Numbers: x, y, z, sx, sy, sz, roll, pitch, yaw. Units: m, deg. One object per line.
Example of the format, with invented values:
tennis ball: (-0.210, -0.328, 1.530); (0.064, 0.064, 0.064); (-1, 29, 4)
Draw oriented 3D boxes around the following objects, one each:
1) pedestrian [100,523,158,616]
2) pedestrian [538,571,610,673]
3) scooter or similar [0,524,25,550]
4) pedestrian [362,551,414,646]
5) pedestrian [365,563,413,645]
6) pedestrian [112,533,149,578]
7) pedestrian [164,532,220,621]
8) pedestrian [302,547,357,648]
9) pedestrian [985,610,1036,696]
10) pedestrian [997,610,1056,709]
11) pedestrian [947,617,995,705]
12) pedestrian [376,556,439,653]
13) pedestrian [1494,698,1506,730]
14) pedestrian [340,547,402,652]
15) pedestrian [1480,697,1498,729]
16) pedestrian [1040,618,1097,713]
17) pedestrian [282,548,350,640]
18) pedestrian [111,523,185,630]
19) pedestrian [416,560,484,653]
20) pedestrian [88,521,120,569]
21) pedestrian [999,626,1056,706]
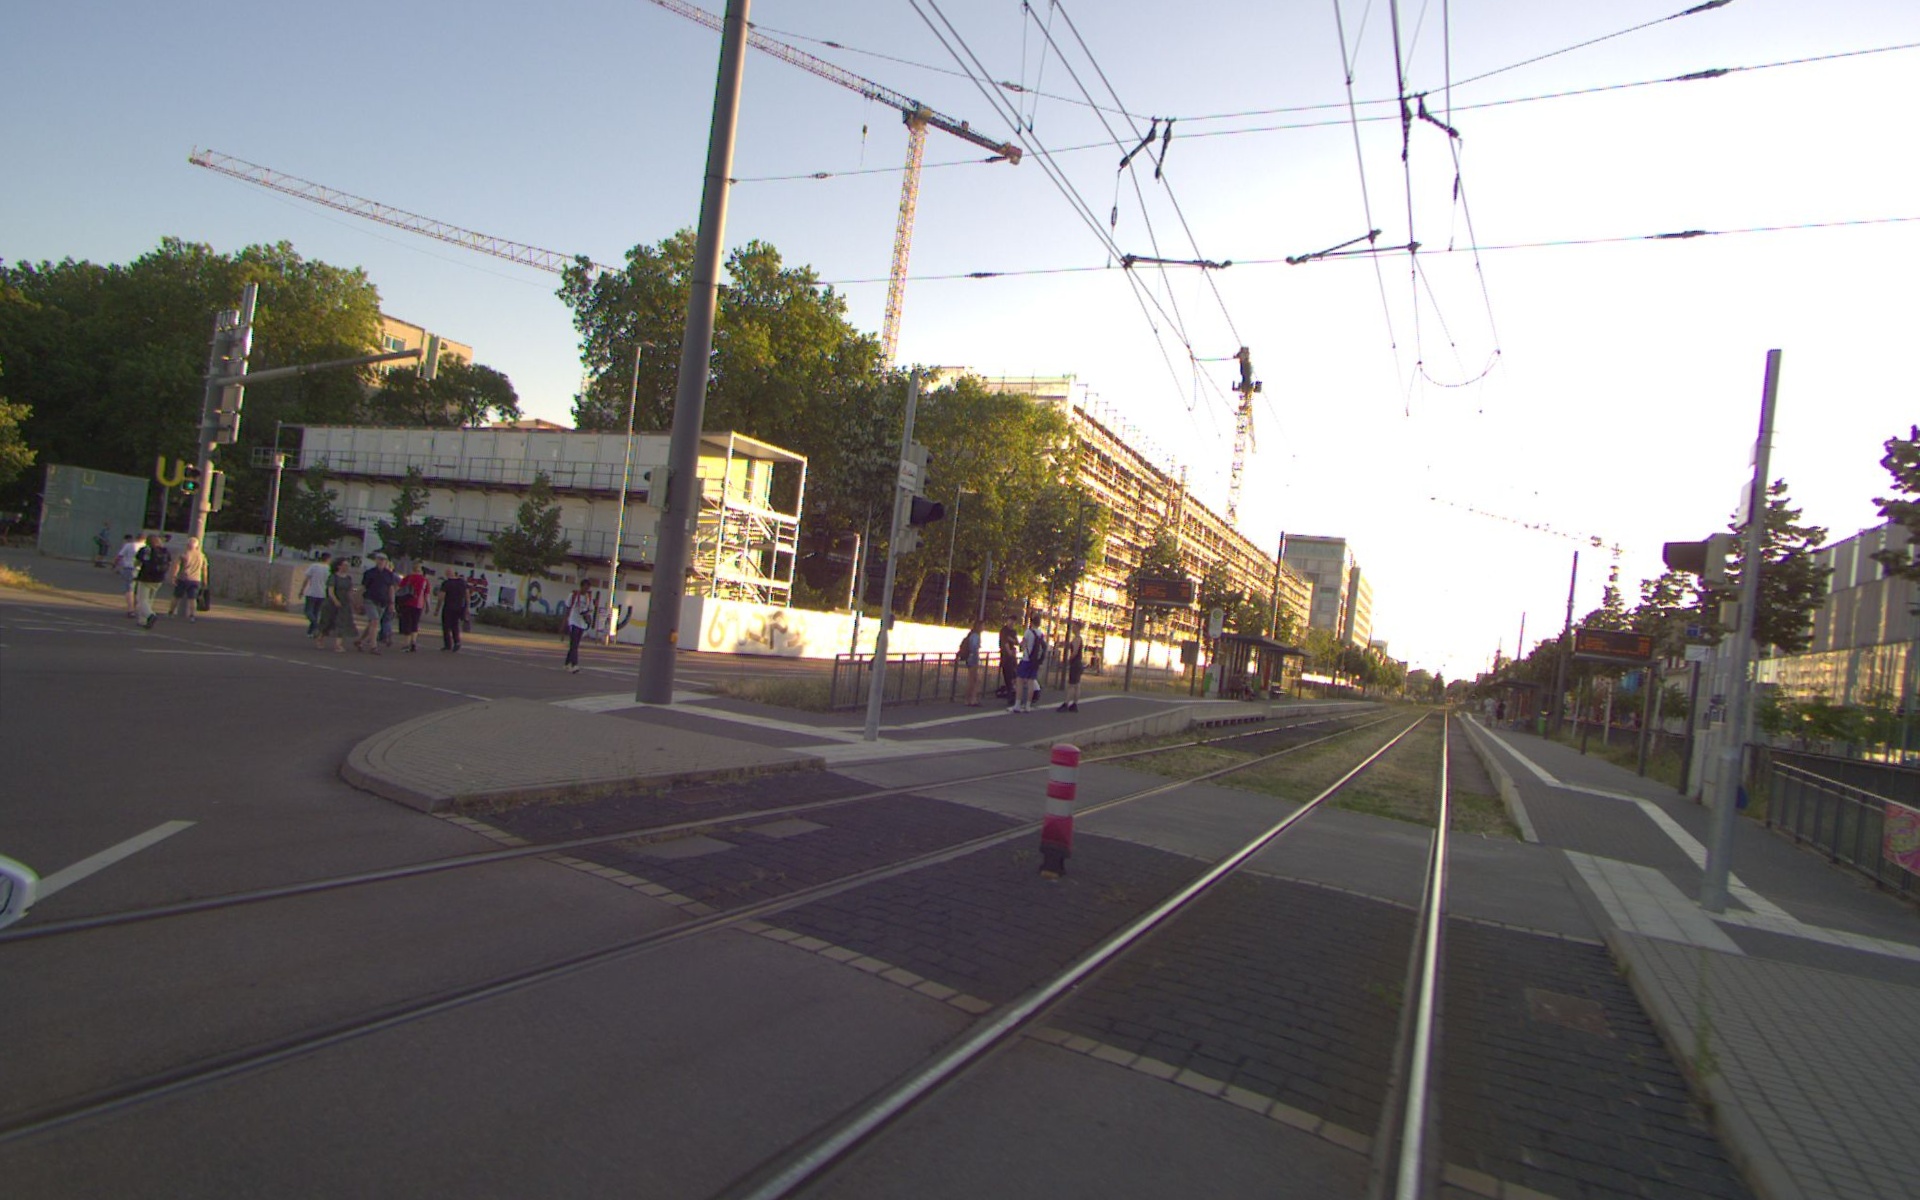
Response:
pedestrian: (-16.615, -0.617, 20.118); (0.708, 1.745, 0.660); (8, -1, -42)
pedestrian: (-7.379, 0.423, 19.216); (0.788, 1.812, 0.805); (6, -1, 38)
scooter or similar: (-50.608, -3.369, 53.366); (2.933, 1.217, 0.570); (6, -1, 30)
pedestrian: (-11.563, -0.033, 20.327); (0.630, 1.812, 0.571); (6, -1, 44)
pedestrian: (-12.479, 0.078, 21.983); (0.630, 1.698, 0.571); (6, -1, 44)
pedestrian: (-29.270, -1.553, 35.495); (0.701, 1.466, 0.667); (7, -1, 31)
pedestrian: (-15.955, -0.492, 20.896); (0.708, 1.745, 0.660); (8, -1, -42)
pedestrian: (-11.094, -0.053, 17.703); (0.557, 1.674, 0.893); (7, -1, -39)
pedestrian: (1.080, 1.137, 21.505); (0.657, 1.745, 0.712); (6, -1, 27)
pedestrian: (1.245, 1.107, 18.730); (0.657, 1.745, 0.712); (6, -1, 32)
pedestrian: (0.216, 1.179, 19.293); (0.527, 1.611, 0.572); (6, -1, 30)
pedestrian: (-10.690, 0.092, 19.468); (0.701, 1.755, 0.837); (8, -1, -43)
pedestrian: (29.560, 6.228, 55.063); (0.396, 1.689, 0.448); (6, -1, 36)
pedestrian: (-10.642, -0.019, 18.173); (0.676, 1.778, 0.893); (7, -1, -39)
pedestrian: (29.171, 6.213, 55.477); (0.657, 1.689, 0.575); (6, -1, 36)
pedestrian: (2.114, 1.269, 19.540); (0.657, 1.745, 0.712); (6, -1, 32)
pedestrian: (-13.127, -0.121, 20.508); (0.900, 1.745, 0.711); (6, -1, 34)
pedestrian: (-14.290, -0.413, 17.712); (0.902, 1.745, 0.710); (6, -1, 41)
pedestrian: (-10.693, 0.145, 21.110); (0.787, 1.812, 0.806); (6, -1, 33)
pedestrian: (-34.925, -2.240, 41.044); (0.702, 1.864, 0.666); (7, -1, 36)
pedestrian: (1.333, 1.300, 19.845); (0.672, 1.458, 0.707); (7, -1, -37)
